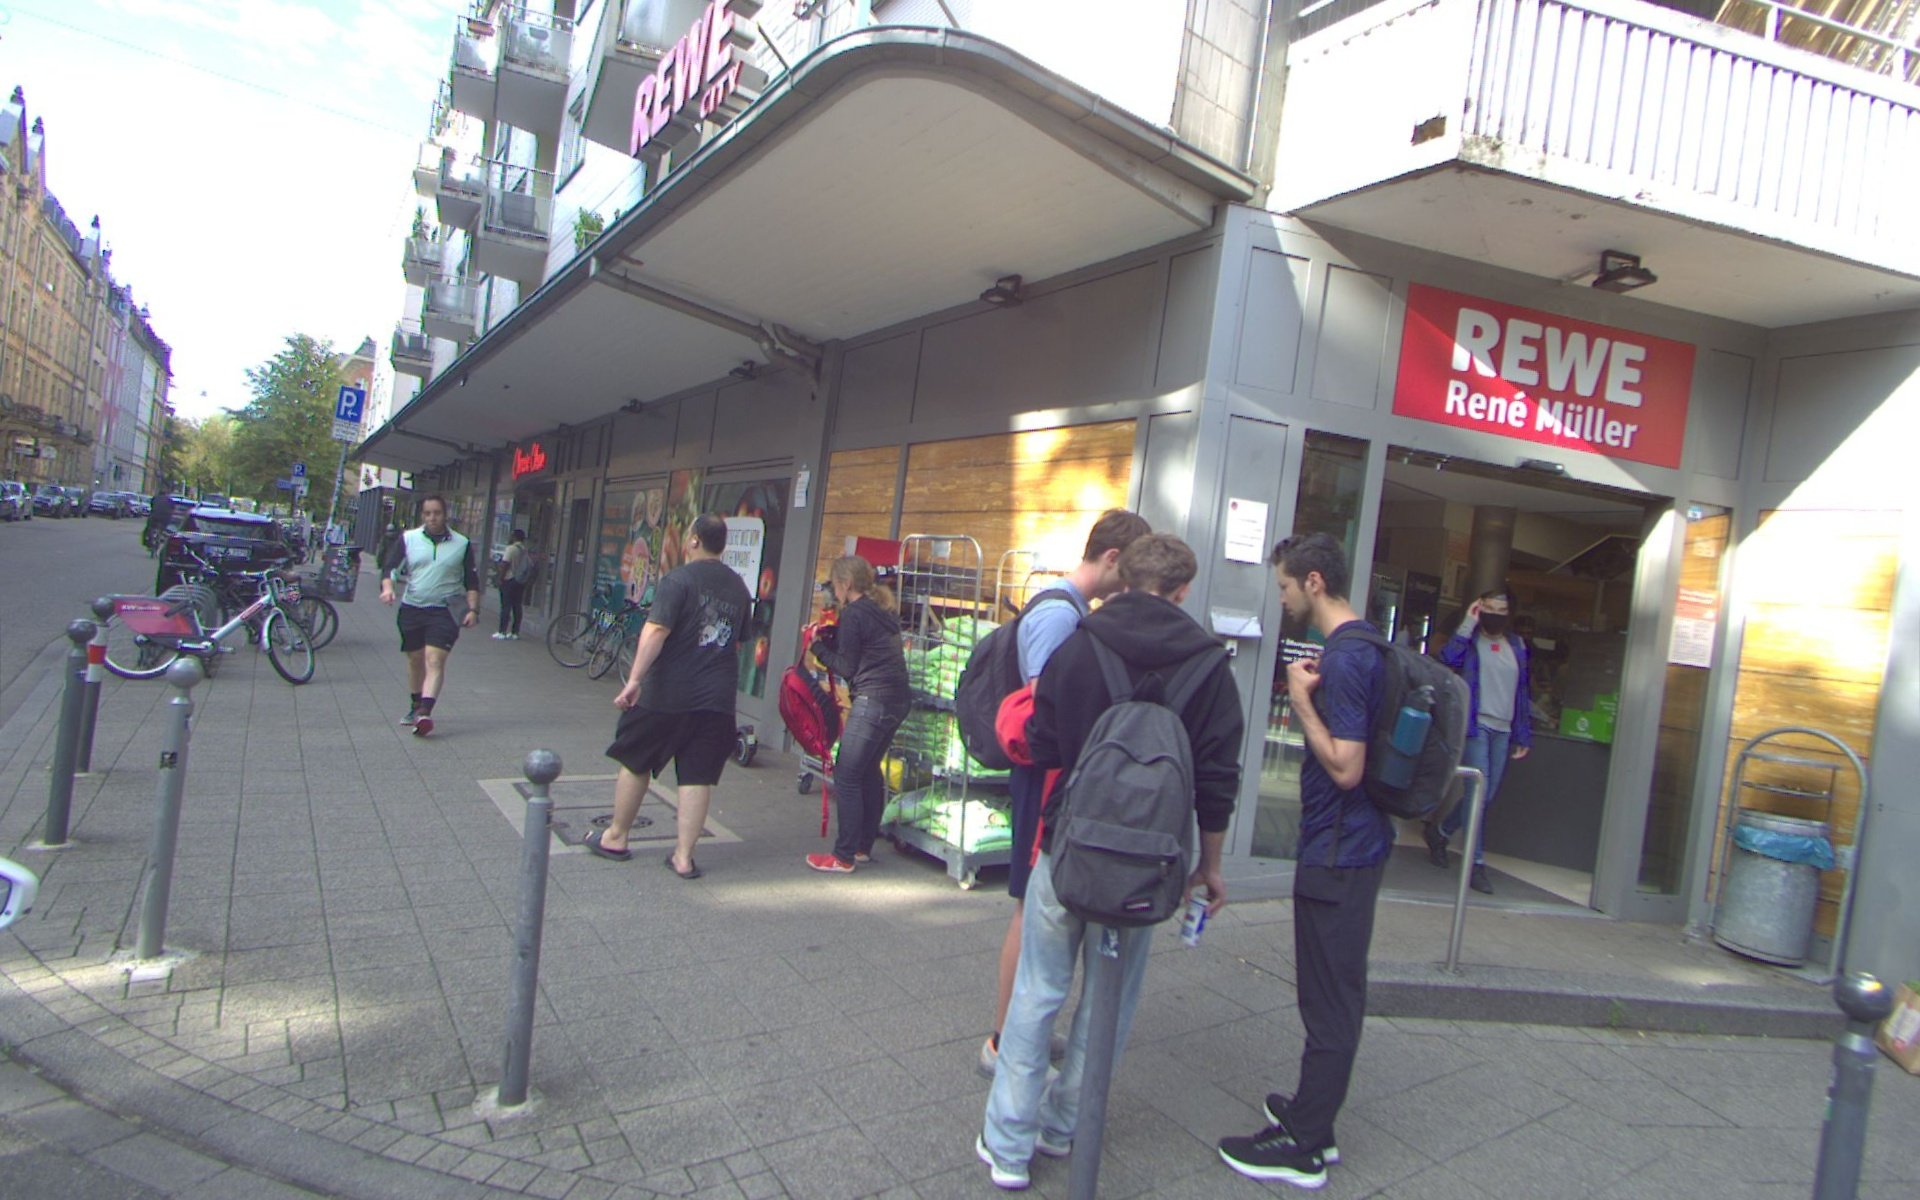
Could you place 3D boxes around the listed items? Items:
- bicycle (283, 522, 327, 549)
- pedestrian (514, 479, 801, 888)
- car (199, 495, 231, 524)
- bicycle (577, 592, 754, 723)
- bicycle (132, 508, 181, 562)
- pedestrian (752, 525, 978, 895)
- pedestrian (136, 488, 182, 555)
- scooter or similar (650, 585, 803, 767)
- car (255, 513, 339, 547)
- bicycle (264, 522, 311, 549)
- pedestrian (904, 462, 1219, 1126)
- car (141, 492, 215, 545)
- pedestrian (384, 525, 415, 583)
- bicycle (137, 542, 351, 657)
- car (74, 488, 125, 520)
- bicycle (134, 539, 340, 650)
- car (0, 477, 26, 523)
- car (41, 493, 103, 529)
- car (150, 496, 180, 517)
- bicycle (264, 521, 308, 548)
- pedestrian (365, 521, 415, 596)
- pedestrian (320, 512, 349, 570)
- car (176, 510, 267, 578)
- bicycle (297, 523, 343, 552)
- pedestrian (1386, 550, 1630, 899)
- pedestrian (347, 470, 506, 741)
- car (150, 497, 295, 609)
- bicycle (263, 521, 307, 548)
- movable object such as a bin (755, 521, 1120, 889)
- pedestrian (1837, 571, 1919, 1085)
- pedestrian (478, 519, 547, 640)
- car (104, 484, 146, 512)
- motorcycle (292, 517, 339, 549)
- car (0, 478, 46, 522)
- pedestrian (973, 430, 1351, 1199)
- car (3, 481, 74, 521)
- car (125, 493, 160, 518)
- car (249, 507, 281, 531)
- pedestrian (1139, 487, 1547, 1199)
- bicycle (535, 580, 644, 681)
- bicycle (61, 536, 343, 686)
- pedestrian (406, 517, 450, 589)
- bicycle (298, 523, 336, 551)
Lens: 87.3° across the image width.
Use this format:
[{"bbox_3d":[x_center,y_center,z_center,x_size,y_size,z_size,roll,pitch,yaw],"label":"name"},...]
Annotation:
[{"bbox_3d":[-33.961,-3.344,52.173,1.769,1.175,0.499,6,2,-9],"label":"bicycle"},{"bbox_3d":[-1.518,0.346,4.995,1.035,1.770,0.846,8,3,44],"label":"pedestrian"},{"bbox_3d":[-60.977,-7.406,82.378,1.773,2.044,3.849,9,0,-35],"label":"car"},{"bbox_3d":[-2.916,0.545,9.892,1.707,1.056,0.676,6,0,36],"label":"bicycle"},{"bbox_3d":[-21.620,-1.765,27.100,0.714,1.289,1.866,8,0,-33],"label":"bicycle"},{"bbox_3d":[-0.483,0.503,4.998,0.717,1.654,0.705,4,3,-37],"label":"pedestrian"},{"bbox_3d":[-21.613,-2.128,27.159,0.714,1.670,0.921,8,0,-34],"label":"pedestrian"},{"bbox_3d":[-1.851,0.561,7.868,0.628,1.229,1.243,4,3,-37],"label":"scooter or similar"},{"bbox_3d":[-38.691,-4.073,58.737,1.709,1.566,3.748,6,0,45],"label":"car"},{"bbox_3d":[-31.288,-3.002,46.826,1.757,1.071,0.407,5,3,-40],"label":"bicycle"},{"bbox_3d":[0.269,0.552,3.127,0.701,1.822,0.631,5,3,-2],"label":"pedestrian"},{"bbox_3d":[-31.852,-3.300,41.078,1.953,1.761,4.004,8,-1,-34],"label":"car"},{"bbox_3d":[-16.424,-1.349,29.453,0.639,1.609,0.773,5,2,-33],"label":"pedestrian"},{"bbox_3d":[-7.770,0.020,10.972,1.782,1.085,0.561,5,3,-45],"label":"bicycle"},{"bbox_3d":[-49.934,-5.570,58.435,1.683,1.384,3.830,12,-2,-34],"label":"car"},{"bbox_3d":[-8.179,-0.036,11.440,1.782,1.085,0.579,5,3,-45],"label":"bicycle"},{"bbox_3d":[-33.712,-3.568,34.513,1.733,1.501,3.945,10,-1,-35],"label":"car"},{"bbox_3d":[-44.282,-4.452,50.250,1.681,1.454,3.830,10,-1,-35],"label":"car"},{"bbox_3d":[-71.974,-8.449,91.129,1.681,1.568,3.830,9,-1,-35],"label":"car"},{"bbox_3d":[-34.417,-3.360,51.365,1.781,1.175,0.496,5,2,-32],"label":"bicycle"},{"bbox_3d":[-13.214,-0.962,23.307,0.818,1.608,0.774,6,1,-33],"label":"pedestrian"},{"bbox_3d":[-19.930,-1.882,32.050,0.608,1.748,1.116,6,2,-34],"label":"pedestrian"},{"bbox_3d":[-19.381,-1.517,26.535,1.585,1.457,3.993,7,1,-33],"label":"car"},{"bbox_3d":[-30.020,-2.927,47.223,1.752,1.177,0.644,5,2,-33],"label":"bicycle"},{"bbox_3d":[3.117,0.670,5.841,0.751,1.775,0.931,8,1,8],"label":"pedestrian"},{"bbox_3d":[-4.005,0.039,7.604,0.876,1.858,1.039,5,2,-27],"label":"pedestrian"},{"bbox_3d":[-12.834,-0.862,17.703,1.780,1.626,3.887,5,2,-34],"label":"car"},{"bbox_3d":[-33.515,-3.239,49.973,1.752,1.114,0.408,5,2,-32],"label":"bicycle"},{"bbox_3d":[-0.270,0.473,6.033,0.775,1.766,2.399,7,0,-36],"label":"movable object such as a bin"},{"bbox_3d":[4.389,0.935,3.994,1.017,2.040,0.861,9,3,34],"label":"pedestrian"},{"bbox_3d":[-6.910,-0.316,15.526,0.709,1.770,0.808,4,3,-37],"label":"pedestrian"},{"bbox_3d":[-56.864,-6.927,68.543,1.682,1.568,3.829,10,-1,-35],"label":"car"},{"bbox_3d":[-36.710,-3.833,57.356,2.133,1.551,0.680,5,2,-31],"label":"motorcycle"},{"bbox_3d":[-36.190,-3.851,38.104,1.681,1.403,3.830,10,-1,-35],"label":"car"},{"bbox_3d":[0.455,0.567,2.522,0.620,1.822,0.714,6,3,6],"label":"pedestrian"},{"bbox_3d":[-41.054,-4.408,44.897,1.681,1.403,3.830,10,-1,-35],"label":"car"},{"bbox_3d":[-63.648,-7.328,78.391,1.681,1.568,3.830,9,-1,-35],"label":"car"},{"bbox_3d":[-58.643,-6.873,84.929,1.920,1.657,3.962,9,-1,-34],"label":"car"},{"bbox_3d":[1.065,0.632,2.926,0.646,1.822,0.655,4,4,-22],"label":"pedestrian"},{"bbox_3d":[-4.534,0.350,12.227,0.737,1.028,1.765,4,2,-36],"label":"bicycle"},{"bbox_3d":[-6.666,0.115,8.963,1.871,1.140,0.898,5,2,-37],"label":"bicycle"},{"bbox_3d":[-14.885,-1.303,28.142,0.697,1.883,0.644,7,1,-6],"label":"pedestrian"},{"bbox_3d":[-31.111,-3.035,48.669,1.485,1.161,0.407,5,3,-35],"label":"bicycle"}]
